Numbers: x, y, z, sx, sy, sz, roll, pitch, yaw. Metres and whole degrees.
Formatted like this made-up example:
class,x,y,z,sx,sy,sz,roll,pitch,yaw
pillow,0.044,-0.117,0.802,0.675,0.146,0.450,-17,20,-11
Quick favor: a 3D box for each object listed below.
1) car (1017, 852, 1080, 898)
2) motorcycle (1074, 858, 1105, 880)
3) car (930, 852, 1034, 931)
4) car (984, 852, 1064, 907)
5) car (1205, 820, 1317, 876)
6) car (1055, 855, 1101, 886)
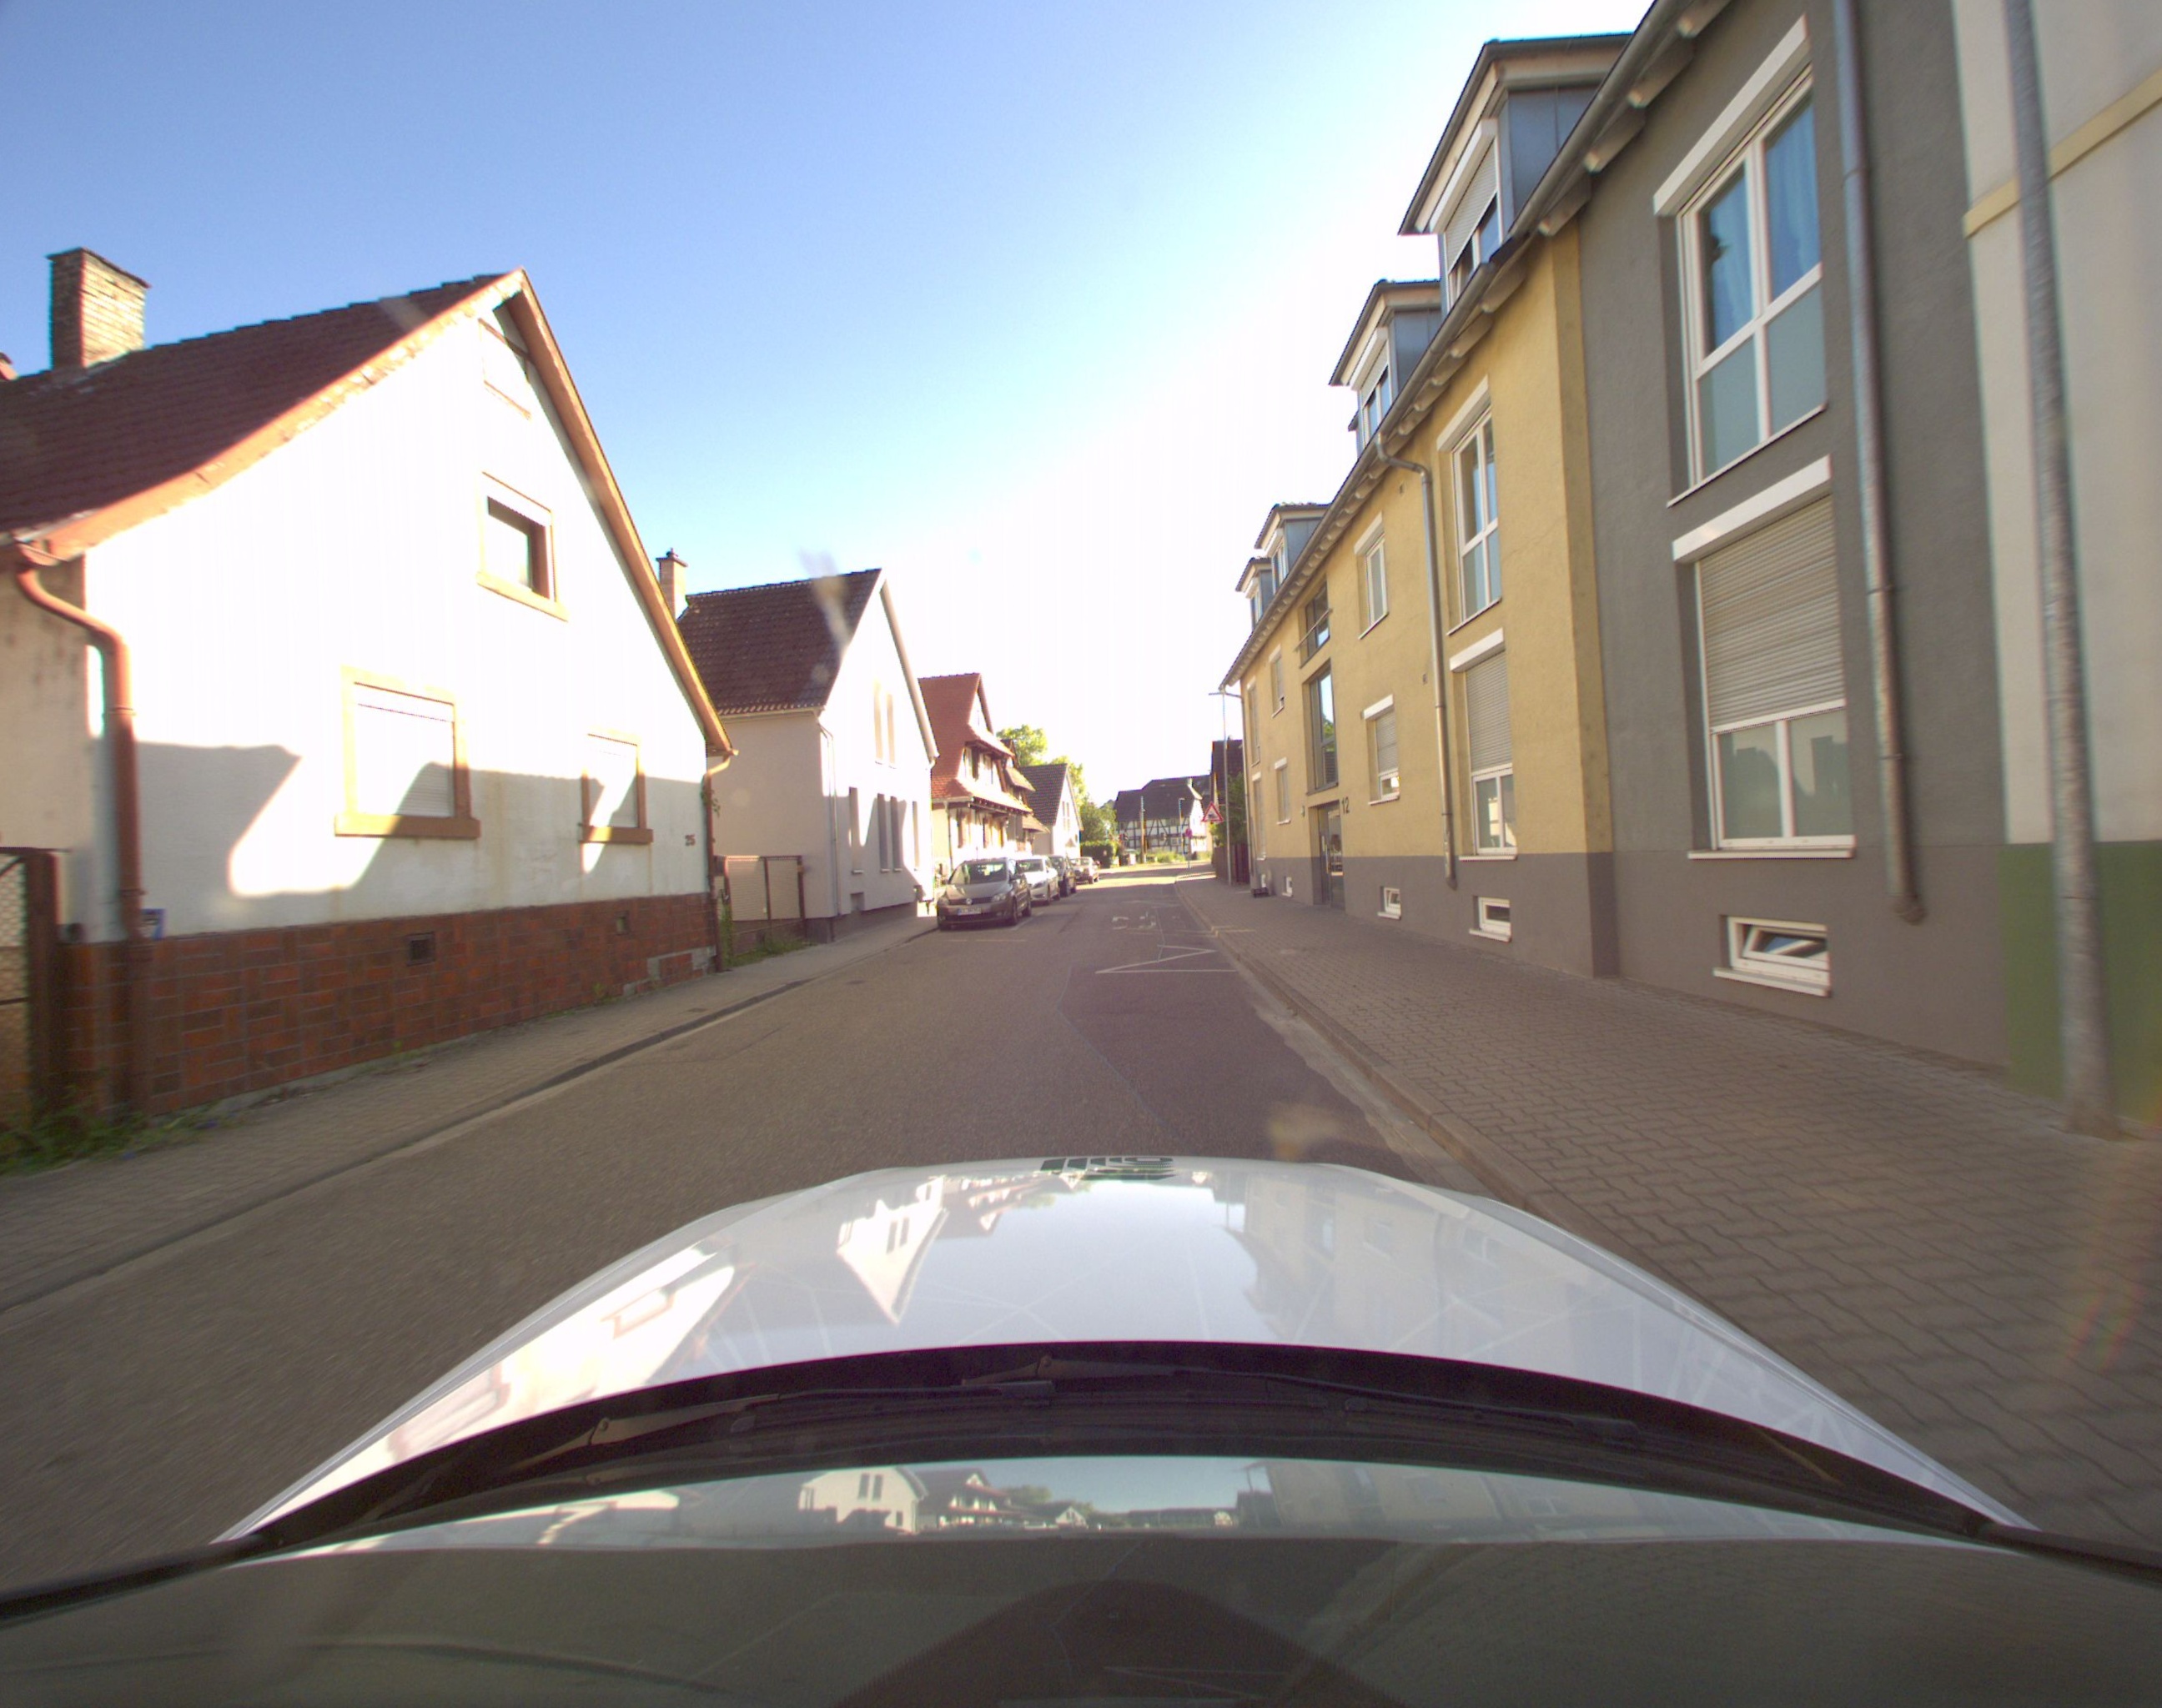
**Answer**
class,x,y,z,sx,sy,sz,roll,pitch,yaw
car,-1.189,0.777,32.021,1.775,1.604,4.368,-3,0,6
motorcycle,0.487,0.881,47.066,0.630,1.231,1.971,-3,0,-40
car,-2.257,0.825,19.583,1.735,1.614,4.003,-3,-1,3
car,-1.762,0.770,26.555,1.807,1.567,4.175,-3,-1,6
car,10.196,-0.328,46.399,5.782,2.655,1.968,-4,-2,1
car,-0.086,0.835,43.306,1.835,1.406,5.045,-4,-1,6
